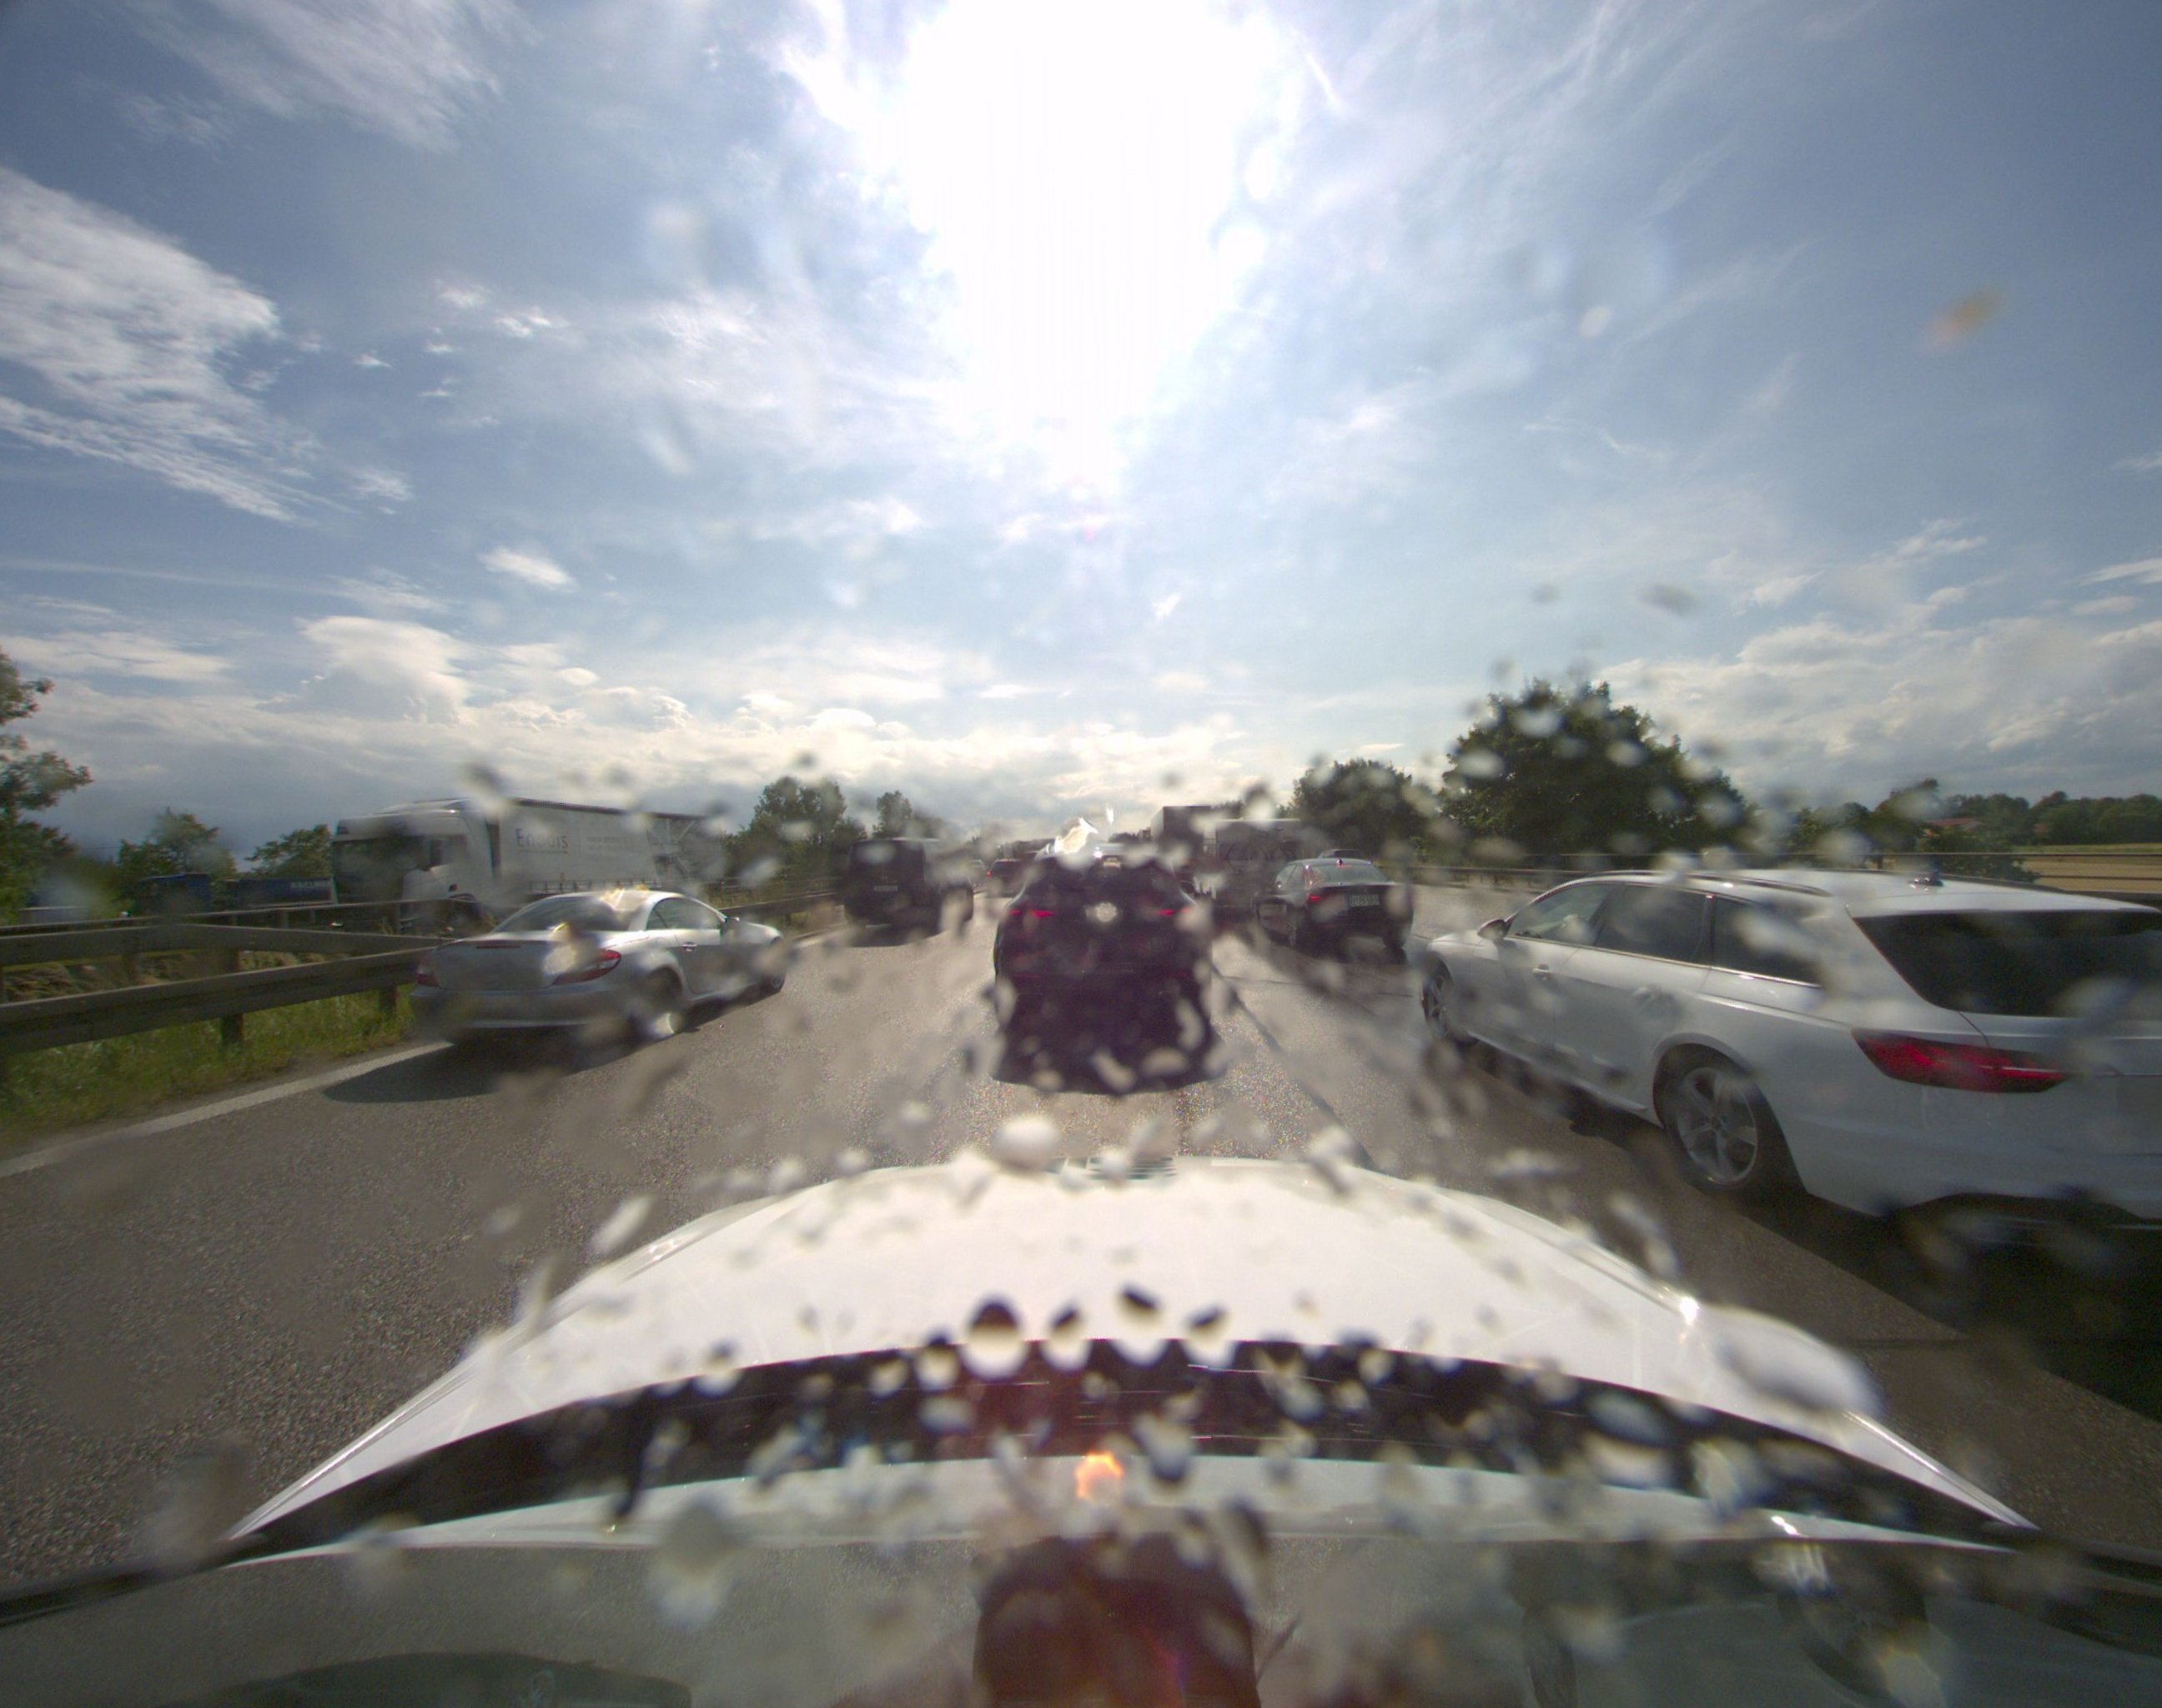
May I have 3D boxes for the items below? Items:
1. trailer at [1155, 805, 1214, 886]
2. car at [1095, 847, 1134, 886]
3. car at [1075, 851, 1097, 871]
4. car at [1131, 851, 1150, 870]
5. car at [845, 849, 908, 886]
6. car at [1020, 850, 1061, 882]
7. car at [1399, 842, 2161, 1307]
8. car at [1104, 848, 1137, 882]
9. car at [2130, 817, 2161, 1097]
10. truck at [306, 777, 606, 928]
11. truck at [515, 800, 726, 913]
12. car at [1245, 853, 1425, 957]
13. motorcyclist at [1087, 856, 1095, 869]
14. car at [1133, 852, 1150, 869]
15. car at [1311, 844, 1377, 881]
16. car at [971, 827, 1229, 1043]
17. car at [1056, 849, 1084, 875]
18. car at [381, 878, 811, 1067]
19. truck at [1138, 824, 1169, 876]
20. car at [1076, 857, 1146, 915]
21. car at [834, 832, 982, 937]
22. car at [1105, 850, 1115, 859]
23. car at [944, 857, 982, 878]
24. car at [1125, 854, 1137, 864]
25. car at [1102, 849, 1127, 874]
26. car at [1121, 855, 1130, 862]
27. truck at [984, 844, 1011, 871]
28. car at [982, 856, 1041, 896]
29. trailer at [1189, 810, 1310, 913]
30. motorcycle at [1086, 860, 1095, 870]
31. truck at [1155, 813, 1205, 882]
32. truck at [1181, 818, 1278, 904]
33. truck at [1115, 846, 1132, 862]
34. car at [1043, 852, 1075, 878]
[{"bbox_3d":[5.771,-0.407,46.637,2.993,4.166,8.547,-1,0,5],"label":"trailer"},{"bbox_3d":[1.884,0.645,44.596,1.985,2.014,4.004,0,0,3],"label":"car"},{"bbox_3d":[0.553,0.715,82.897,1.985,2.014,4.004,-1,0,3],"label":"car"},{"bbox_3d":[6.494,0.736,89.121,1.985,2.013,4.004,1,0,3],"label":"car"},{"bbox_3d":[-13.138,0.782,52.860,1.985,2.208,6.984,-1,0,2],"label":"car"},{"bbox_3d":[-2.236,0.688,46.088,1.986,1.720,4.001,0,0,1],"label":"car"},{"bbox_3d":[3.631,0.743,4.788,1.820,1.425,4.511,1,-1,1],"label":"car"},{"bbox_3d":[2.596,0.697,53.054,1.985,2.013,4.004,3,0,3],"label":"car"},{"bbox_3d":[6.975,0.560,2.358,1.985,1.581,4.656,-1,0,3],"label":"car"},{"bbox_3d":[-18.421,0.032,24.943,2.850,3.821,7.882,-1,-1,2],"label":"truck"},{"bbox_3d":[-18.059,0.169,32.975,2.837,3.853,9.427,-1,-1,2],"label":"truck"},{"bbox_3d":[4.172,0.766,14.132,1.842,1.464,4.256,-2,0,1],"label":"car"},{"bbox_3d":[1.313,1.079,108.522,1.059,1.718,0.786,-1,-1,3],"label":"motorcyclist"},{"bbox_3d":[7.758,0.832,105.036,1.985,2.013,4.004,3,0,3],"label":"car"},{"bbox_3d":[12.111,0.383,37.802,1.813,1.620,4.367,0,0,3],"label":"car"},{"bbox_3d":[0.250,0.650,8.577,1.985,1.661,4.409,-1,0,3],"label":"car"},{"bbox_3d":[-0.866,0.658,68.793,1.985,2.013,4.004,3,0,3],"label":"car"},{"bbox_3d":[-4.339,0.957,8.177,1.717,1.278,4.066,-1,0,3],"label":"car"},{"bbox_3d":[6.961,-0.346,79.134,2.492,4.830,7.546,0,0,2],"label":"truck"},{"bbox_3d":[0.885,0.812,22.418,1.749,1.387,3.949,-1,0,4],"label":"car"},{"bbox_3d":[-3.709,0.595,18.558,1.985,2.013,5.273,-1,0,3],"label":"car"},{"bbox_3d":[5.378,0.134,151.564,1.870,1.760,3.999,0,0,0],"label":"car"},{"bbox_3d":[-8.595,0.948,59.589,1.985,1.460,4.100,0,0,2],"label":"car"},{"bbox_3d":[9.185,0.868,149.740,1.870,1.760,3.999,0,0,0],"label":"car"},{"bbox_3d":[2.883,0.623,68.501,1.985,2.013,4.004,-1,0,3],"label":"car"},{"bbox_3d":[10.426,1.084,190.073,1.870,1.760,3.999,0,0,0],"label":"car"},{"bbox_3d":[-13.461,0.522,131.793,2.993,4.103,7.691,-3,-1,2],"label":"truck"},{"bbox_3d":[-2.774,0.842,33.360,1.749,1.516,4.213,-1,0,4],"label":"car"},{"bbox_3d":[4.501,0.203,22.980,2.364,2.483,6.527,0,0,3],"label":"trailer"},{"bbox_3d":[1.316,1.468,108.520,1.069,1.271,2.692,-1,0,3],"label":"motorcycle"},{"bbox_3d":[6.245,-0.394,52.179,2.981,4.166,5.247,-1,0,5],"label":"truck"},{"bbox_3d":[4.673,0.215,26.588,2.364,2.477,5.760,0,0,3],"label":"truck"},{"bbox_3d":[11.297,0.061,217.447,3.832,4.017,11.215,0,0,-1],"label":"truck"},{"bbox_3d":[-1.595,0.777,60.375,1.985,1.772,4.004,-2,0,3],"label":"car"}]
